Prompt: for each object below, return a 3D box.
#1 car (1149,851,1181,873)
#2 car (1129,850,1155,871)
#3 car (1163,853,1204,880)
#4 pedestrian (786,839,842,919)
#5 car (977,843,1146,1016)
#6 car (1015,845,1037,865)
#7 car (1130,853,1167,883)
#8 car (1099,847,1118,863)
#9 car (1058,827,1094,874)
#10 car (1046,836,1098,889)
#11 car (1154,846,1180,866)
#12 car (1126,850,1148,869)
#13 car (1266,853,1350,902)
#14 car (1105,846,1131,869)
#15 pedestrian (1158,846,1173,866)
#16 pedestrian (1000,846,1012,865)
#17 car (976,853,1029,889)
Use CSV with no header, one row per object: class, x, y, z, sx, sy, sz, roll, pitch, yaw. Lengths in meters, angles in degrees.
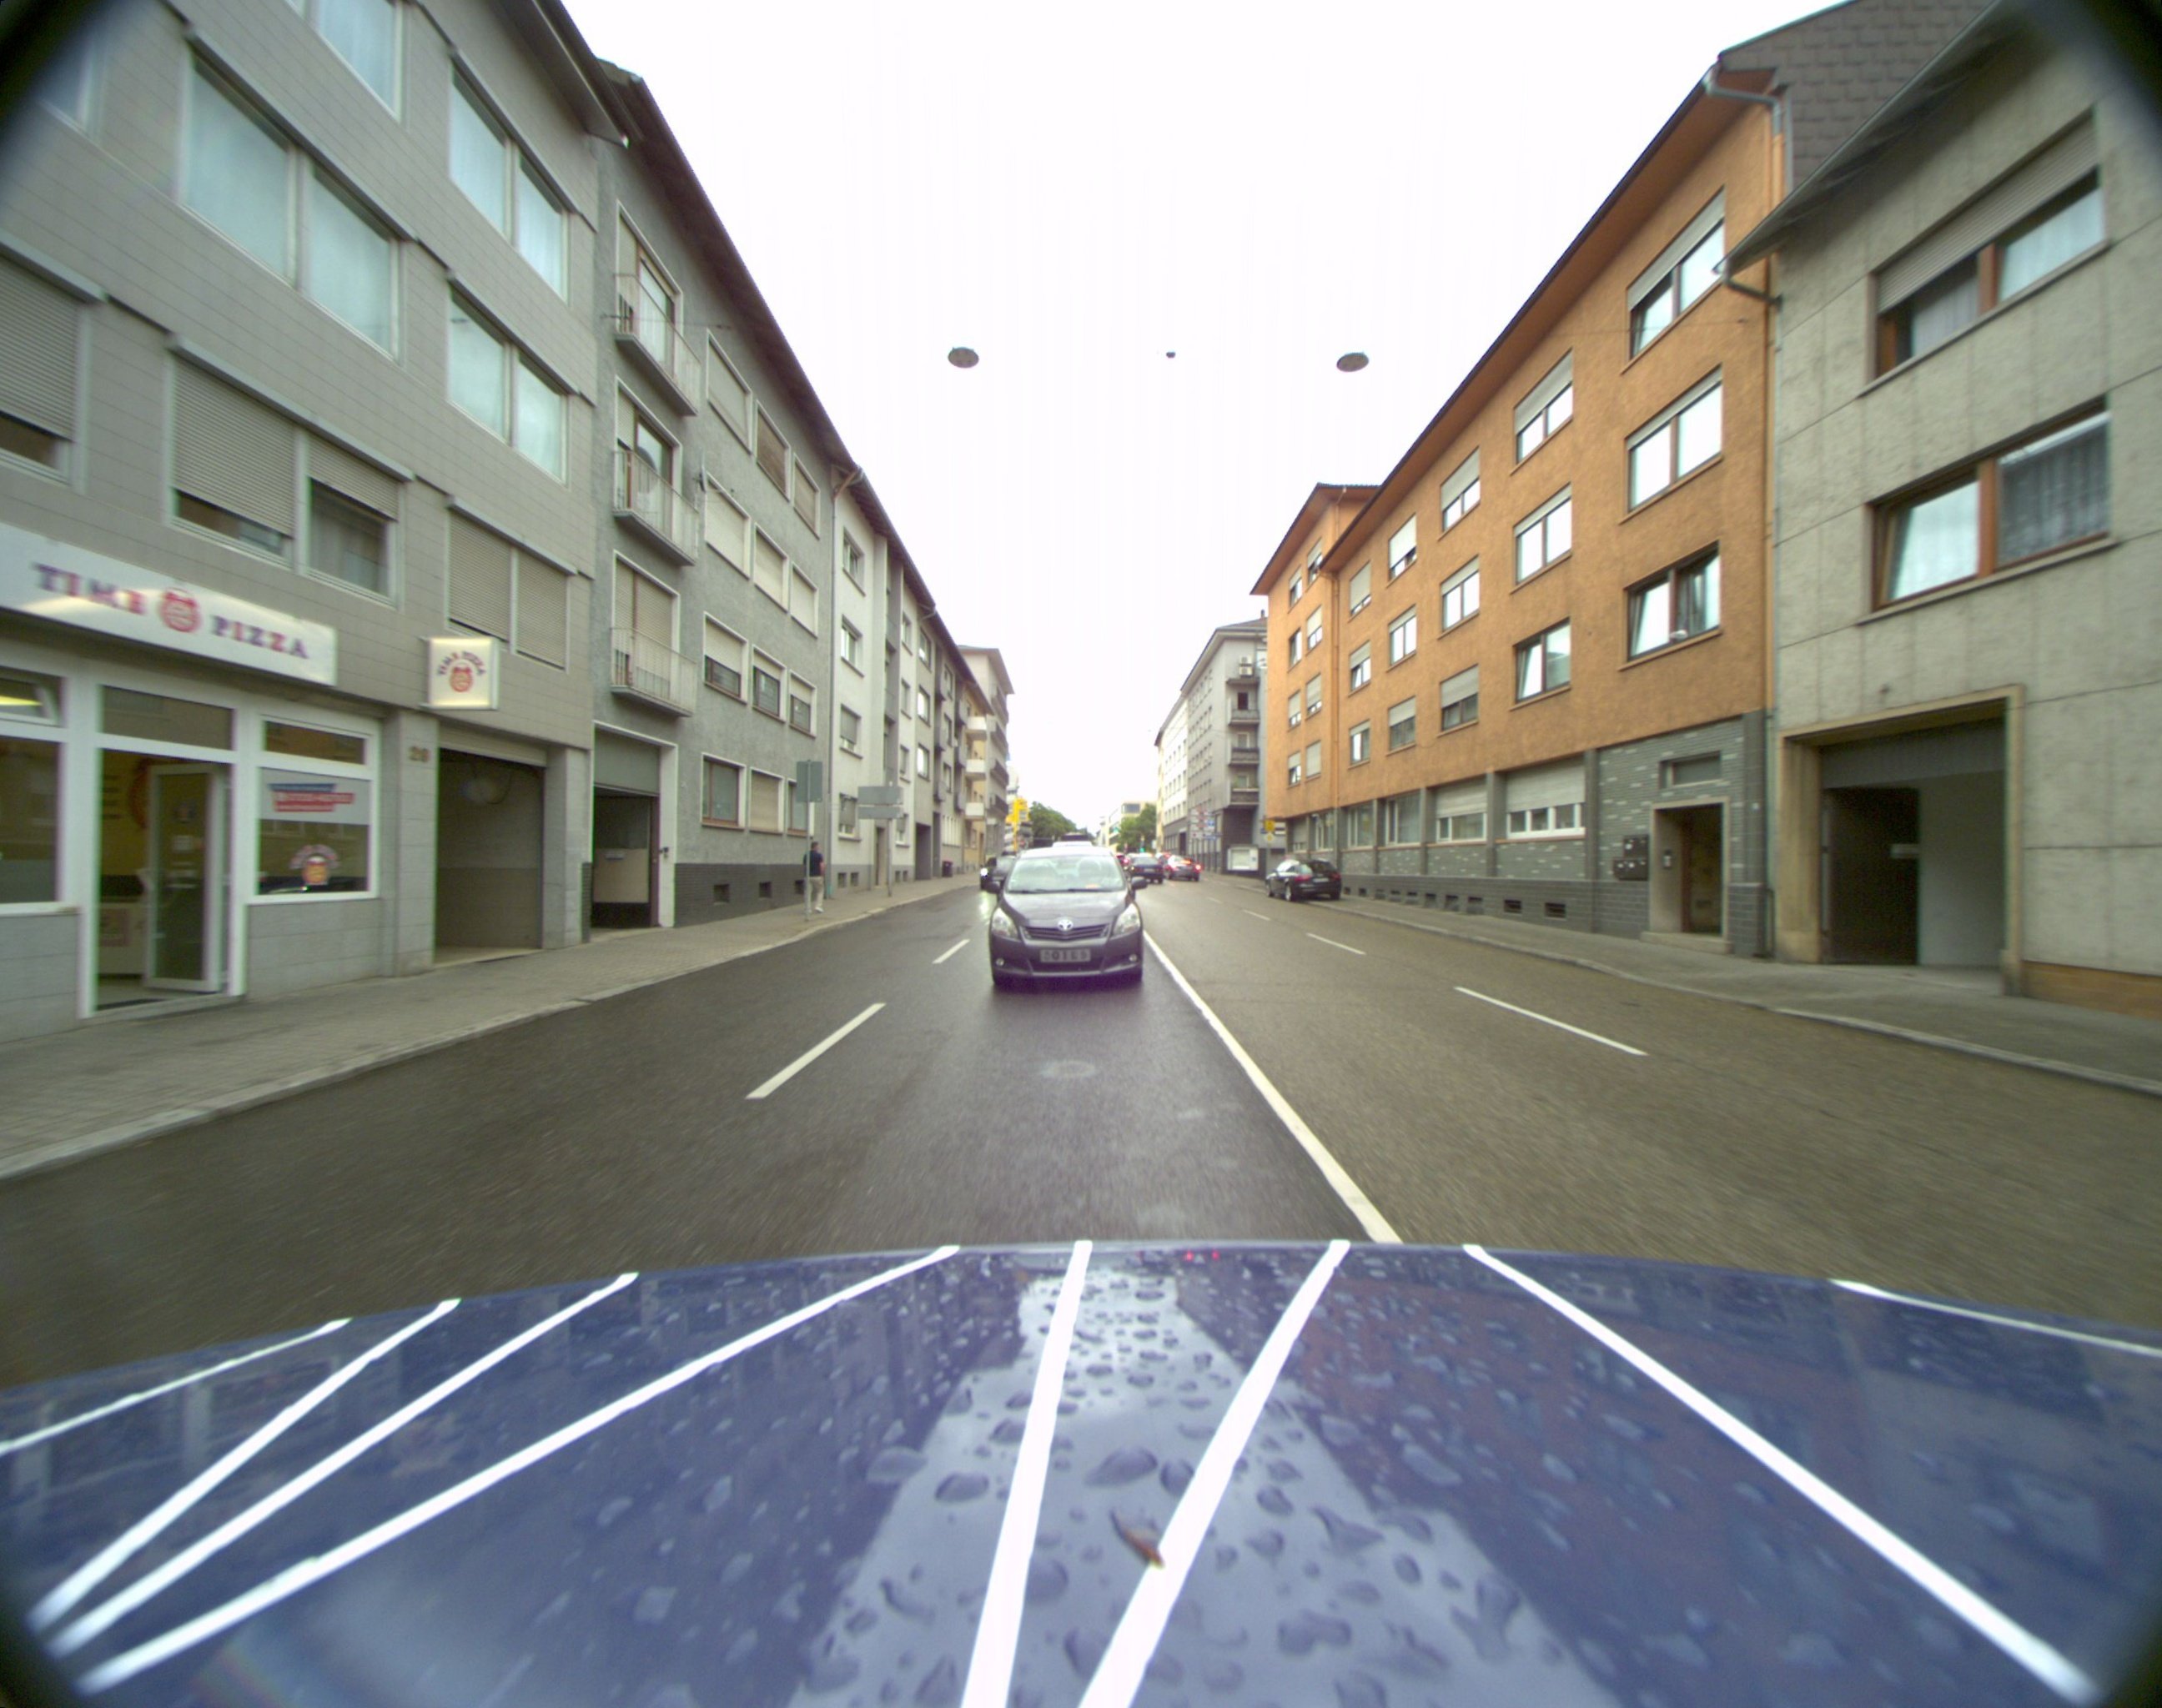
car,5.972,0.562,54.508,1.727,1.464,4.373,2,1,-1
car,5.018,0.512,62.975,1.699,1.531,4.435,4,1,0
car,5.976,0.684,44.867,1.699,1.362,4.364,2,1,-1
pedestrian,-6.568,0.584,18.769,0.871,1.855,1.119,4,2,1
car,-0.177,0.765,10.093,1.699,1.712,4.217,-3,1,1
car,-5.044,0.064,70.042,1.856,1.663,4.215,-3,1,-4
car,3.426,0.672,39.037,1.602,1.362,4.362,3,1,2
car,2.648,0.064,73.287,1.699,1.363,4.217,2,2,1
car,-0.252,-0.240,47.797,2.033,2.732,4.368,-3,1,1
car,-0.316,0.277,30.760,1.856,1.883,4.217,-3,1,1
car,7.904,0.155,69.906,1.856,1.712,4.217,-3,1,1
car,5.546,0.487,75.815,1.856,1.651,4.610,-3,1,1
car,8.129,0.796,27.624,1.799,1.466,4.217,-3,1,1
car,2.774,0.234,57.265,1.699,1.572,4.216,2,2,0
pedestrian,8.538,0.182,77.072,1.309,2.002,1.258,-3,2,1
pedestrian,-6.873,0.099,69.889,1.119,1.741,0.960,0,1,-5
car,-3.504,0.734,34.697,1.856,1.369,4.217,-3,1,1
